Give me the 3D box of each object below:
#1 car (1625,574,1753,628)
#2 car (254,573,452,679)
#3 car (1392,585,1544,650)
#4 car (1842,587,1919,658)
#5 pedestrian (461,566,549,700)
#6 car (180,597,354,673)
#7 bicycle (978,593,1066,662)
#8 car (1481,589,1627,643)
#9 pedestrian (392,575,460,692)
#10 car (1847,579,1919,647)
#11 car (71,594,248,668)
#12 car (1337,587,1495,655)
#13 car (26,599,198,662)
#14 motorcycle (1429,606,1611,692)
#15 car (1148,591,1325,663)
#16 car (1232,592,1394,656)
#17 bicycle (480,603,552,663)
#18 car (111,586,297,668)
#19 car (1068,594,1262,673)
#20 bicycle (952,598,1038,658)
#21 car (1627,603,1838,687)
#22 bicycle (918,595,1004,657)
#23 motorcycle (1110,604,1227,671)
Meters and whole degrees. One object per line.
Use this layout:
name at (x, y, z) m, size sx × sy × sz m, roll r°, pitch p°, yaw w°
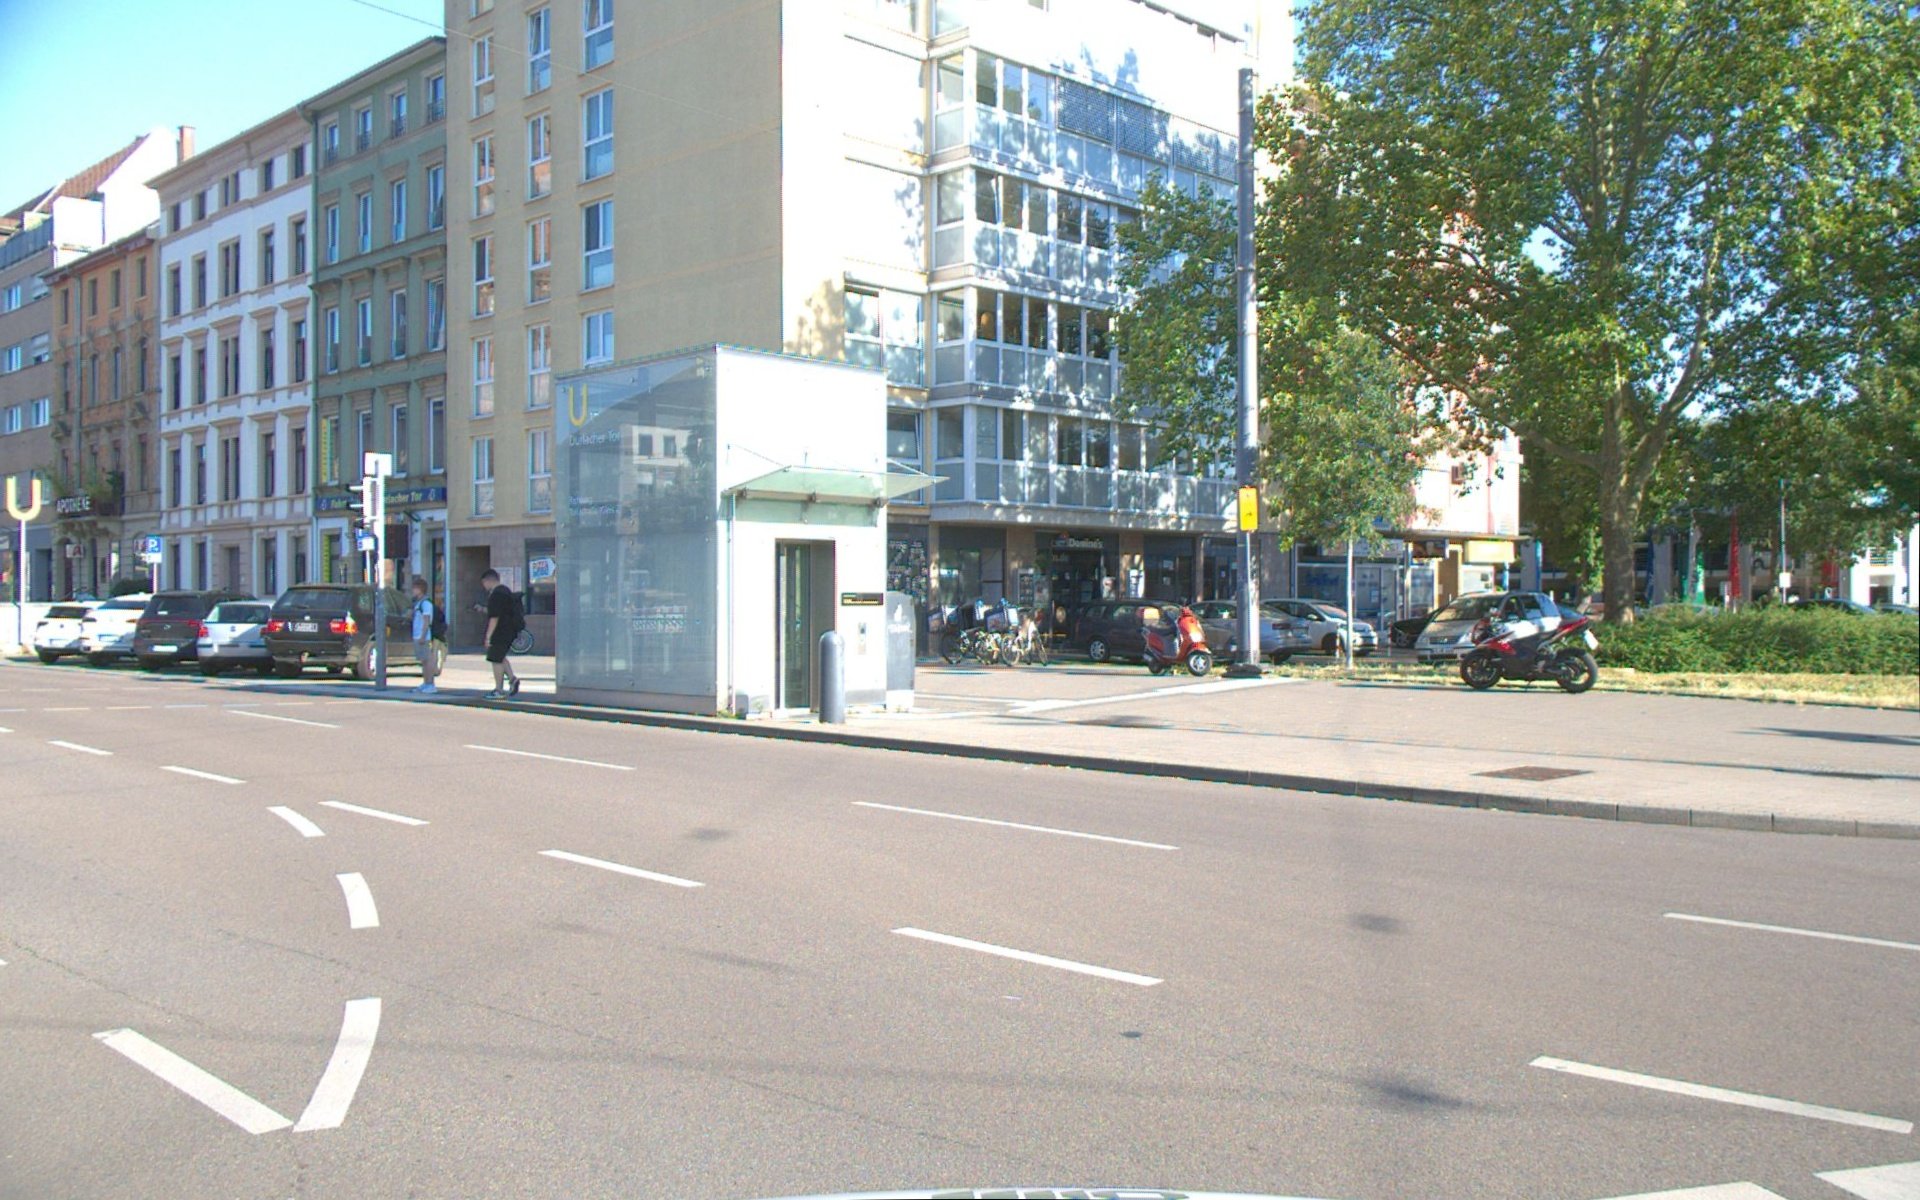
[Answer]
car at (27.069, 0.000, 61.504) m, size 1.842 × 1.810 × 3.936 m, roll -2°, pitch 4°, yaw -44°
car at (-11.395, 0.483, 31.379) m, size 1.913 × 1.846 × 4.253 m, roll 1°, pitch -1°, yaw 4°
car at (15.154, 0.483, 49.442) m, size 1.842 × 1.663 × 3.936 m, roll -2°, pitch 4°, yaw -44°
car at (27.927, 0.673, 47.816) m, size 3.932 × 1.900 × 1.844 m, roll 3°, pitch 4°, yaw 44°
pedestrian at (-6.082, 0.434, 22.132) m, size 0.848 × 1.758 × 0.795 m, roll 0°, pitch 0°, yaw 14°
car at (-13.811, 0.717, 33.221) m, size 1.746 × 1.424 × 3.893 m, roll 1°, pitch -2°, yaw 1°
bicycle at (1.325, 0.568, 34.955) m, size 0.800 × 1.369 × 1.988 m, roll -1°, pitch 1°, yaw 39°
car at (18.801, 0.479, 52.456) m, size 1.842 × 1.444 × 3.936 m, roll -2°, pitch 4°, yaw -44°
pedestrian at (-8.234, 0.507, 25.509) m, size 0.736 × 1.758 × 0.697 m, roll 0°, pitch 0°, yaw 29°
car at (30.639, 0.423, 52.581) m, size 3.932 × 2.033 × 1.844 m, roll 3°, pitch 4°, yaw 44°
car at (-18.433, 0.702, 38.329) m, size 1.913 × 1.598 × 4.252 m, roll 1°, pitch -1°, yaw 1°
car at (12.943, 0.560, 47.065) m, size 1.842 × 1.663 × 3.936 m, roll -2°, pitch 4°, yaw -44°
car at (-20.897, 0.723, 40.961) m, size 1.914 × 1.489 × 4.115 m, roll 0°, pitch 0°, yaw 4°
motorcycle at (7.755, 0.655, 22.932) m, size 2.232 × 1.092 × 1.039 m, roll 0°, pitch 2°, yaw 30°
car at (6.675, 0.615, 40.201) m, size 1.842 × 1.444 × 3.936 m, roll -2°, pitch 4°, yaw -44°
car at (9.481, 0.600, 44.644) m, size 1.842 × 1.444 × 3.936 m, roll -2°, pitch 4°, yaw -44°
bicycle at (-11.376, 0.819, 42.290) m, size 0.924 × 1.380 × 2.196 m, roll -1°, pitch 3°, yaw -41°
car at (-16.153, 0.579, 35.598) m, size 1.913 × 1.626 × 4.252 m, roll 1°, pitch -1°, yaw 2°
car at (4.681, 0.731, 38.185) m, size 4.154 × 1.508 × 1.845 m, roll 3°, pitch 4°, yaw 42°
bicycle at (0.780, 0.588, 35.885) m, size 0.800 × 1.221 × 1.988 m, roll -1°, pitch 1°, yaw 39°
car at (16.383, 0.995, 35.230) m, size 3.907 × 1.537 × 1.798 m, roll -3°, pitch -6°, yaw 25°
bicycle at (0.033, 0.562, 36.424) m, size 0.800 × 1.270 × 1.988 m, roll -1°, pitch 1°, yaw 39°
motorcycle at (3.502, 0.636, 27.866) m, size 1.772 × 1.064 × 0.875 m, roll -2°, pitch 0°, yaw 43°
